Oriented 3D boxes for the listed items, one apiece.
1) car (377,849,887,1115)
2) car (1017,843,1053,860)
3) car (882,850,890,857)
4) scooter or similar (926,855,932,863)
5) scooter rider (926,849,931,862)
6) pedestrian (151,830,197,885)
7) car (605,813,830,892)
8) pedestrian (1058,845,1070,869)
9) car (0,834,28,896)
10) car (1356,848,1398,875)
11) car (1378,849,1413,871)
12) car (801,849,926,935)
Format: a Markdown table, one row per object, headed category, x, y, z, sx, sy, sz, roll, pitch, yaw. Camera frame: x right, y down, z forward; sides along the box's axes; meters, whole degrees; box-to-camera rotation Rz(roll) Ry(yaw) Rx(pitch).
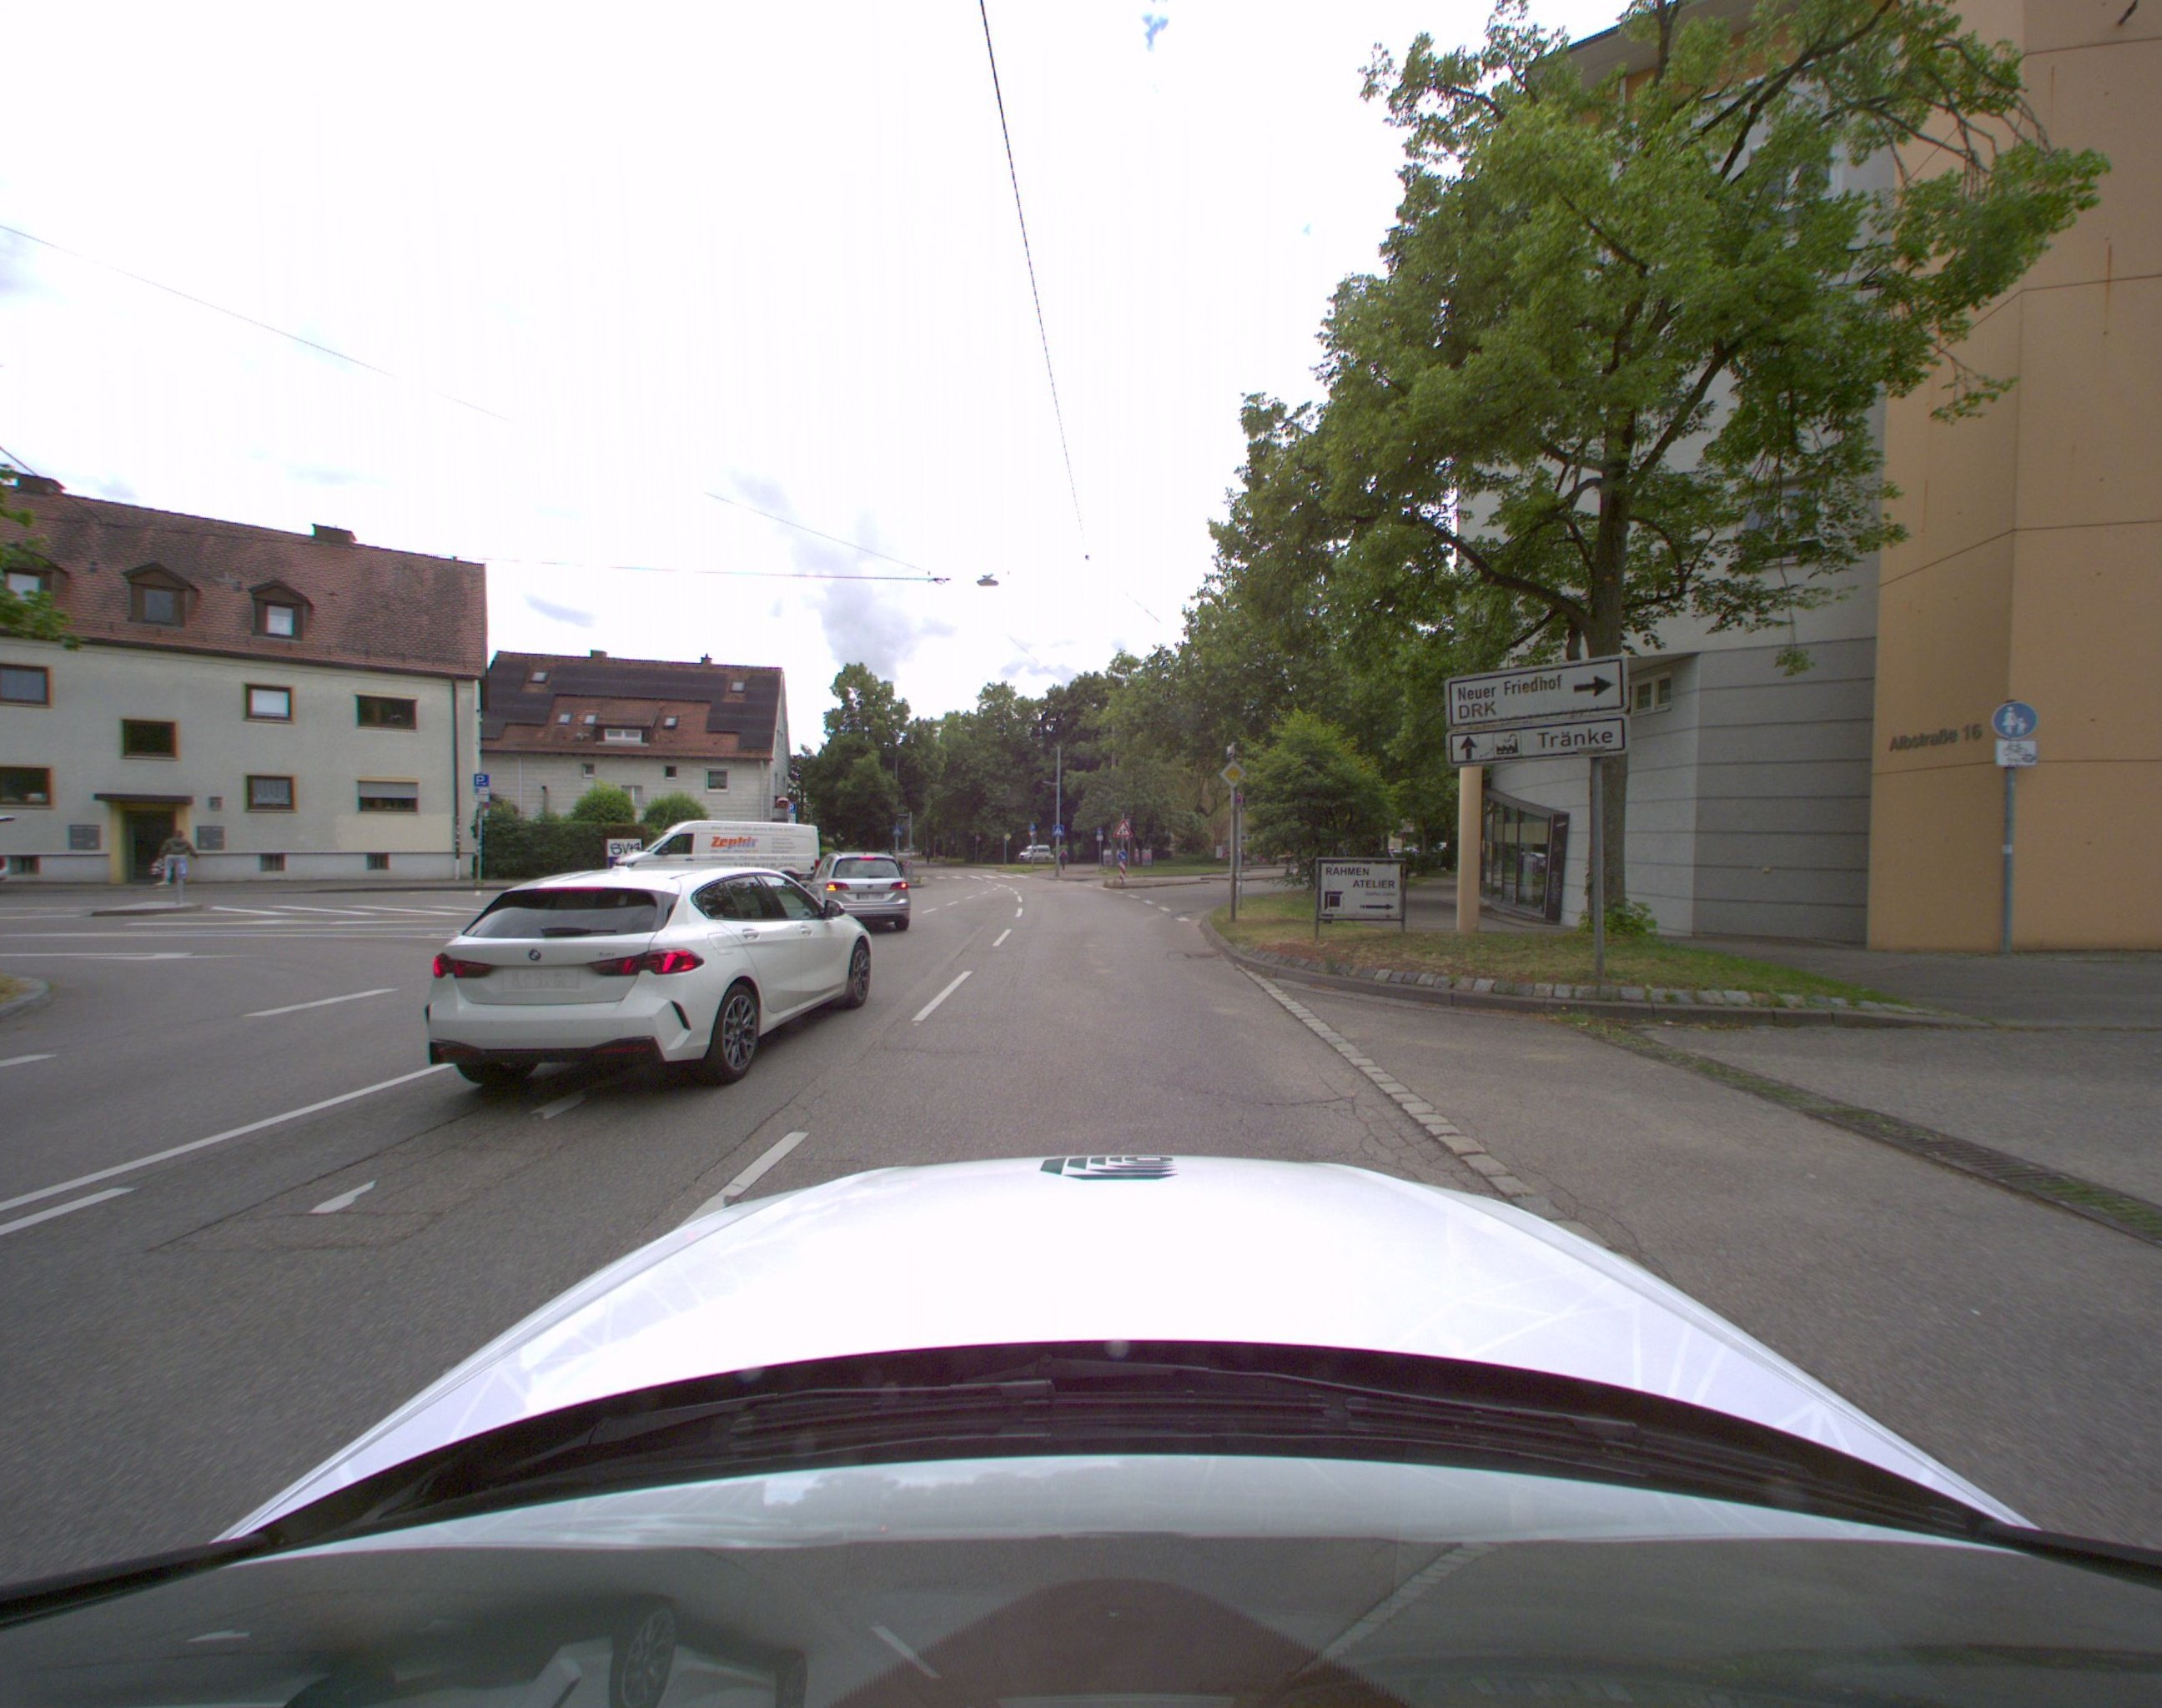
| category | x | y | z | sx | sy | sz | roll | pitch | yaw |
| --- | --- | --- | --- | --- | --- | --- | --- | --- | --- |
| car | -3.131 | 0.753 | 6.857 | 1.788 | 1.517 | 4.209 | -1 | 0 | 2 |
| car | -6.787 | -0.347 | 120.346 | 2.111 | 2.297 | 5.419 | 4 | 1 | 40 |
| car | -49.858 | -0.090 | 208.414 | 1.838 | 1.498 | 3.637 | 3 | 1 | -16 |
| scooter or similar | -18.991 | 0.620 | 101.684 | 0.601 | 1.054 | 0.869 | -1 | 2 | -13 |
| scooter rider | -19.034 | 0.160 | 101.831 | 0.601 | 1.552 | 0.564 | -1 | 2 | -13 |
| pedestrian | -26.379 | 0.094 | 23.704 | 0.753 | 1.534 | 0.708 | 2 | 1 | -38 |
| car | -12.809 | -0.050 | 29.064 | 7.011 | 2.521 | 2.062 | 1 | 2 | -37 |
| pedestrian | -1.412 | 0.257 | 68.097 | 0.921 | 1.871 | 1.018 | -3 | 3 | -3 |
| car | -28.450 | 0.208 | 19.063 | 4.337 | 1.440 | 1.702 | 2 | 1 | -39 |
| car | 19.207 | 0.467 | 52.715 | 1.857 | 1.568 | 4.043 | 3 | 1 | 29 |
| car | 24.236 | 0.449 | 62.684 | 1.761 | 1.597 | 4.275 | 2 | 1 | 30 |
| car | -4.726 | 0.684 | 17.326 | 1.932 | 1.574 | 3.967 | 0 | 1 | -25 |
